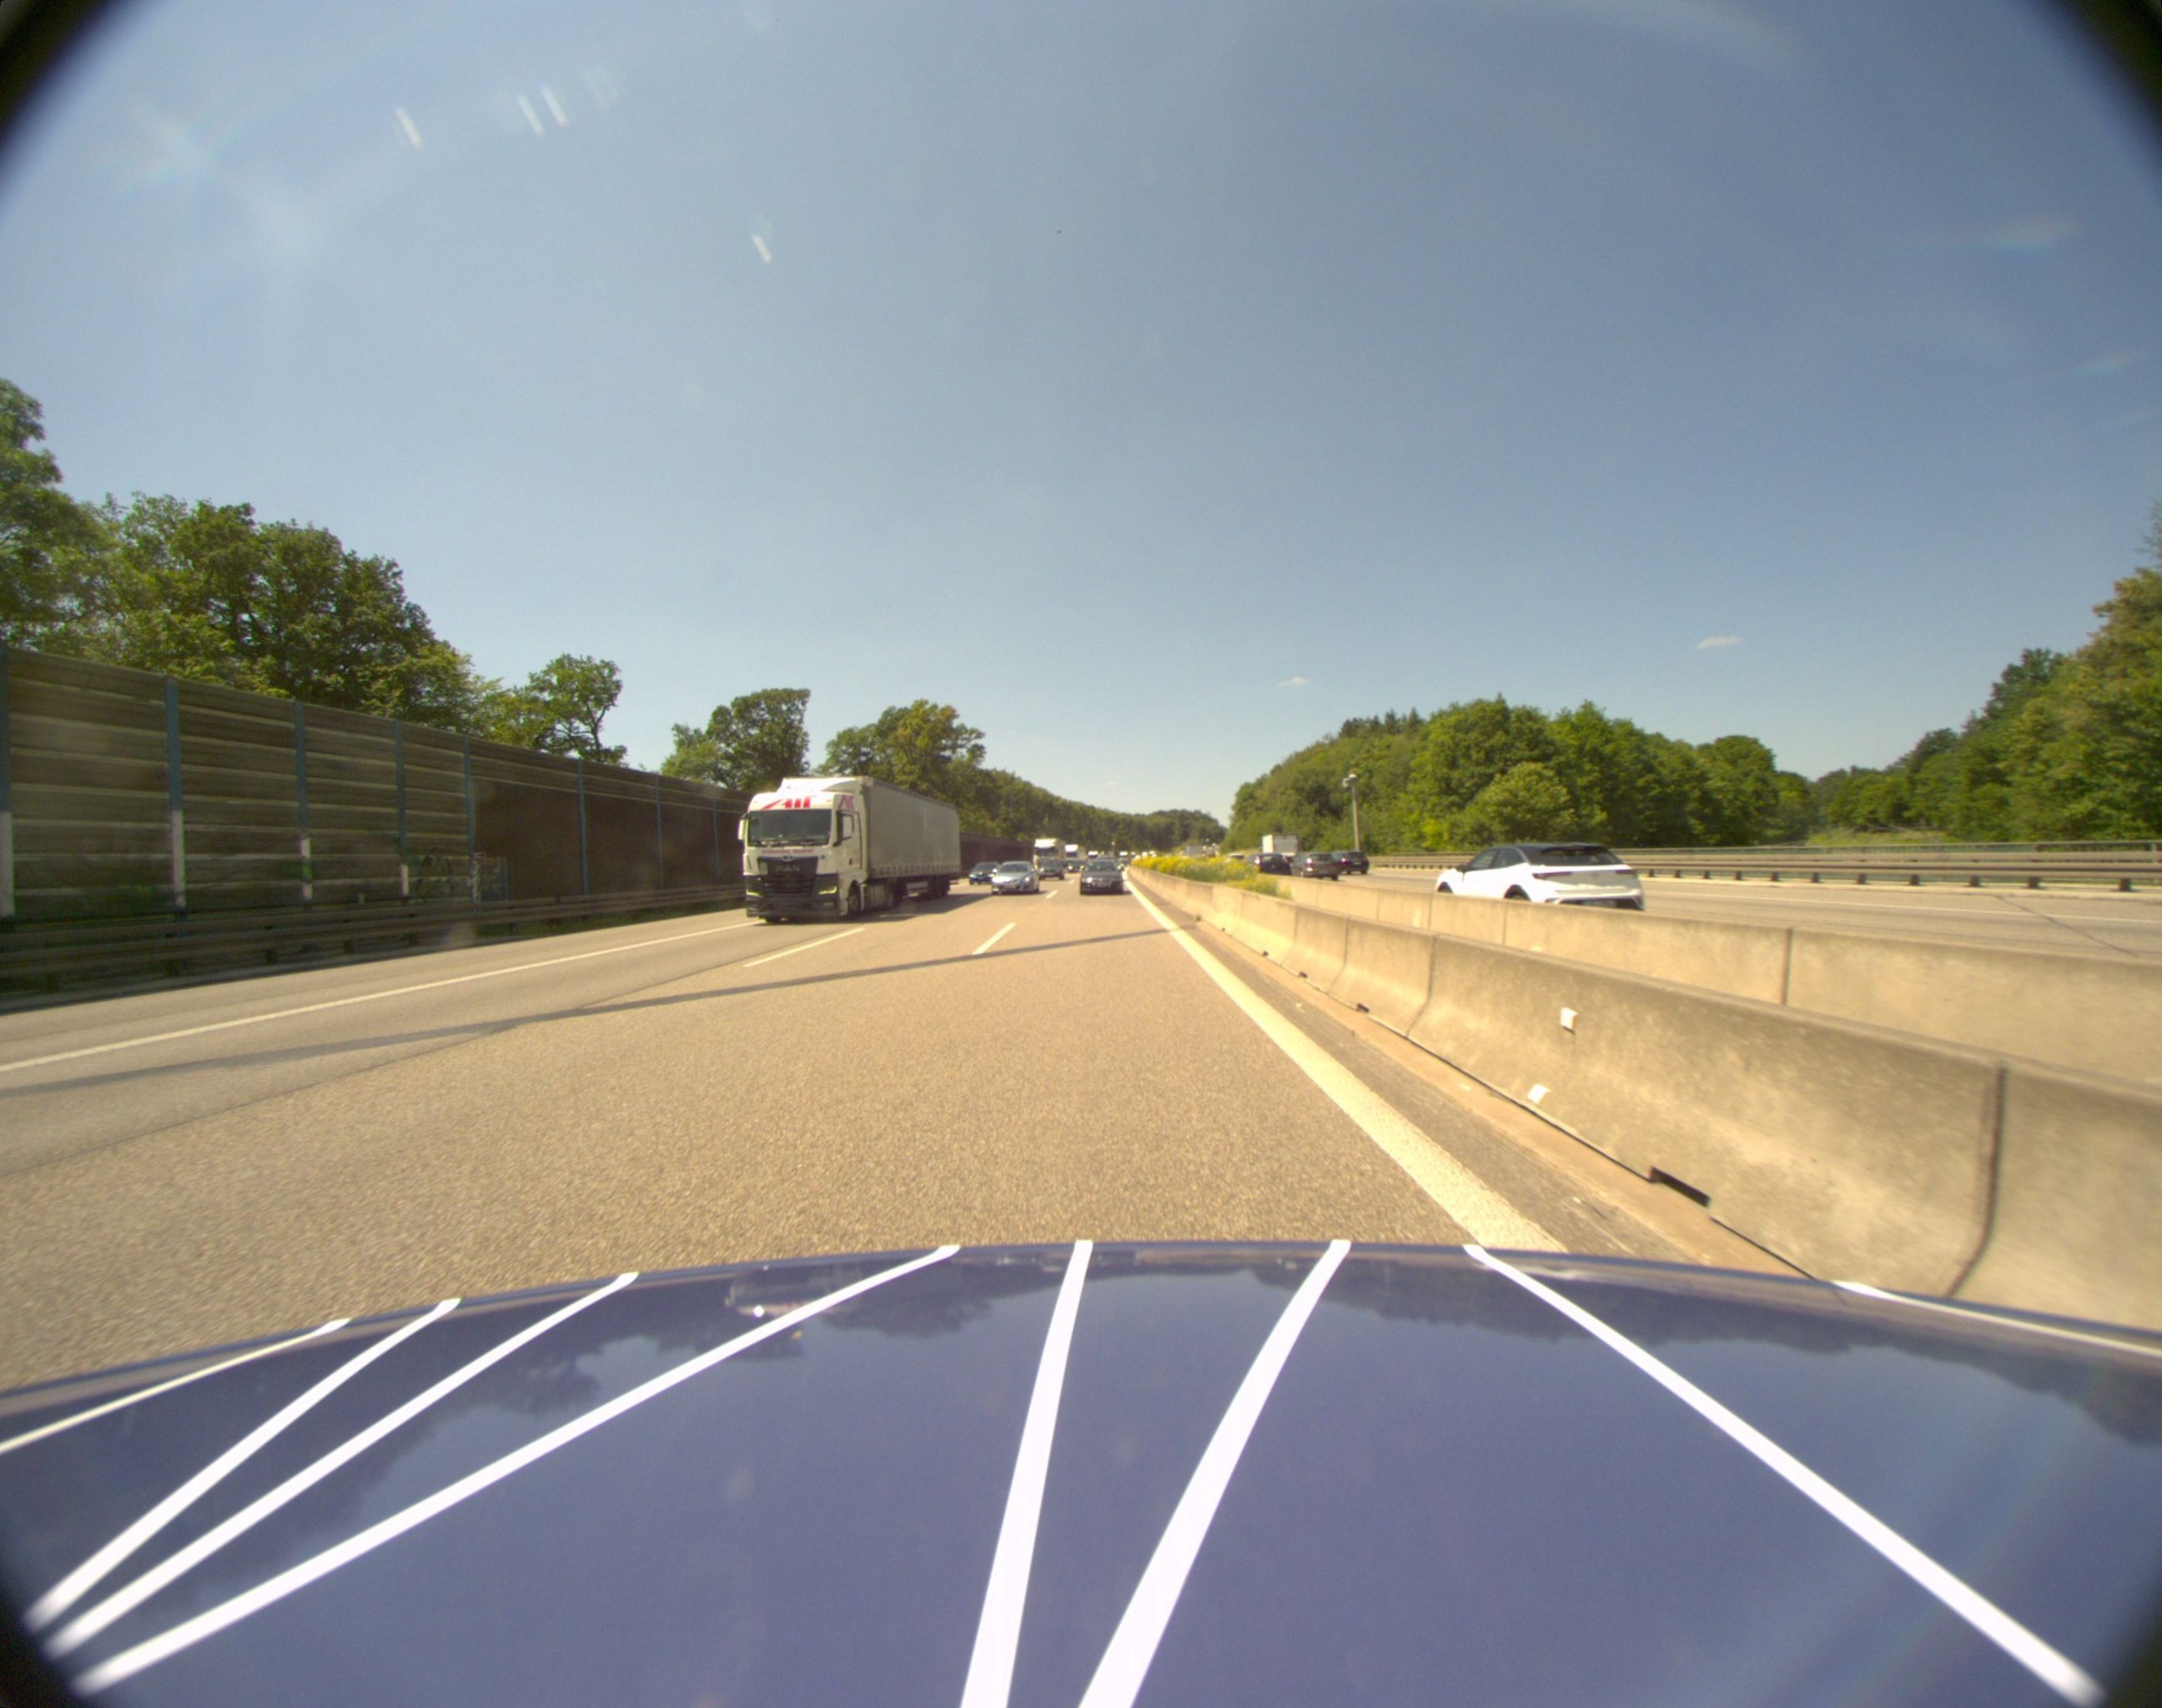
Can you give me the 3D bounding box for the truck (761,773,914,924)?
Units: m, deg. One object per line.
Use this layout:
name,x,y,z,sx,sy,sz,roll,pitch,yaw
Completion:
truck,-7.303,-0.151,23.610,2.604,4.066,5.553,-1,0,3

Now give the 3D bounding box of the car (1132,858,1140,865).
car,13.719,1.904,189.691,1.998,1.641,4.001,-2,0,5

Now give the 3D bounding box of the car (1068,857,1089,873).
car,-0.267,1.226,85.861,1.998,1.641,4.001,-2,0,3

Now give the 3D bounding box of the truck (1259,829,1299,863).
truck,21.306,-0.812,82.070,2.742,3.454,7.316,-1,0,3

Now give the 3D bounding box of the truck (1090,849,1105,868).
truck,3.818,1.122,178.360,2.853,4.381,5.242,-2,0,6

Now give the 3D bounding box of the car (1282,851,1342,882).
car,11.625,0.606,38.519,1.847,1.412,4.234,-2,0,2

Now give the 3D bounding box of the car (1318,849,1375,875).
car,16.238,0.487,46.664,1.998,1.472,4.691,-1,0,2

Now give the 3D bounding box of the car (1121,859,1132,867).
car,9.566,1.876,159.288,1.998,1.641,4.001,-2,0,5

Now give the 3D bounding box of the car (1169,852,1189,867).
car,9.976,0.557,77.648,1.636,1.419,4.037,-1,0,3

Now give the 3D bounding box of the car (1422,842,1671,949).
car,7.777,0.615,13.271,1.808,1.518,4.257,-2,0,2

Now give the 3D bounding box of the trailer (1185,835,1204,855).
trailer,22.855,-1.732,153.408,2.787,3.834,10.172,-2,0,2

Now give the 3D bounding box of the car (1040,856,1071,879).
car,-1.856,0.960,56.244,1.907,1.550,4.001,-2,0,3

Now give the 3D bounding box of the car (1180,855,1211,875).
car,8.747,0.815,58.311,1.736,1.397,4.611,-1,0,1

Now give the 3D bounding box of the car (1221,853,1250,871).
car,13.418,0.676,66.171,1.846,1.537,4.001,-1,0,3

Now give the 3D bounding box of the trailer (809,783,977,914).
trailer,-6.889,-0.197,30.819,2.604,4.066,13.594,-1,0,3

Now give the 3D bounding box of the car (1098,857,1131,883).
car,2.298,1.043,51.205,1.998,1.641,4.001,-1,0,4

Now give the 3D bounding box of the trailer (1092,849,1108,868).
trailer,4.758,1.162,186.813,2.853,4.391,13.034,-2,0,6

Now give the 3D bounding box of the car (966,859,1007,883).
car,-6.243,1.103,50.617,1.860,1.484,4.178,-2,0,4

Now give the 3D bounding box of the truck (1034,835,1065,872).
truck,-3.659,-0.026,89.616,2.811,4.190,5.424,-2,0,6

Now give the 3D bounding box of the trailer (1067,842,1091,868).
trailer,-0.301,0.168,129.470,2.541,4.149,10.183,-2,0,8

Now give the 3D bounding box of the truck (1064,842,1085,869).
truck,-1.003,0.249,124.433,2.544,4.149,4.748,-2,0,8

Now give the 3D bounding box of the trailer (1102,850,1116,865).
trailer,7.947,1.075,212.896,3.153,4.061,6.187,-2,0,9

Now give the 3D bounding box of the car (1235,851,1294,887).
car,7.762,0.610,32.480,1.669,1.420,3.857,-2,0,2

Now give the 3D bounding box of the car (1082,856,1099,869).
car,1.358,1.188,104.203,1.998,1.641,4.001,-2,0,5

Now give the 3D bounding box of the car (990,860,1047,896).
car,-2.729,1.031,34.072,1.860,1.426,4.178,-2,0,4

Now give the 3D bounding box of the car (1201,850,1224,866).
car,14.915,0.403,86.514,1.998,1.691,4.531,-2,0,3

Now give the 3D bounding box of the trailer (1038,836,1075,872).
trailer,-2.970,0.010,96.360,2.820,4.190,13.471,-2,0,6

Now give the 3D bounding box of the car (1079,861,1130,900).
car,0.979,1.029,30.854,1.907,1.410,4.001,-2,0,3
